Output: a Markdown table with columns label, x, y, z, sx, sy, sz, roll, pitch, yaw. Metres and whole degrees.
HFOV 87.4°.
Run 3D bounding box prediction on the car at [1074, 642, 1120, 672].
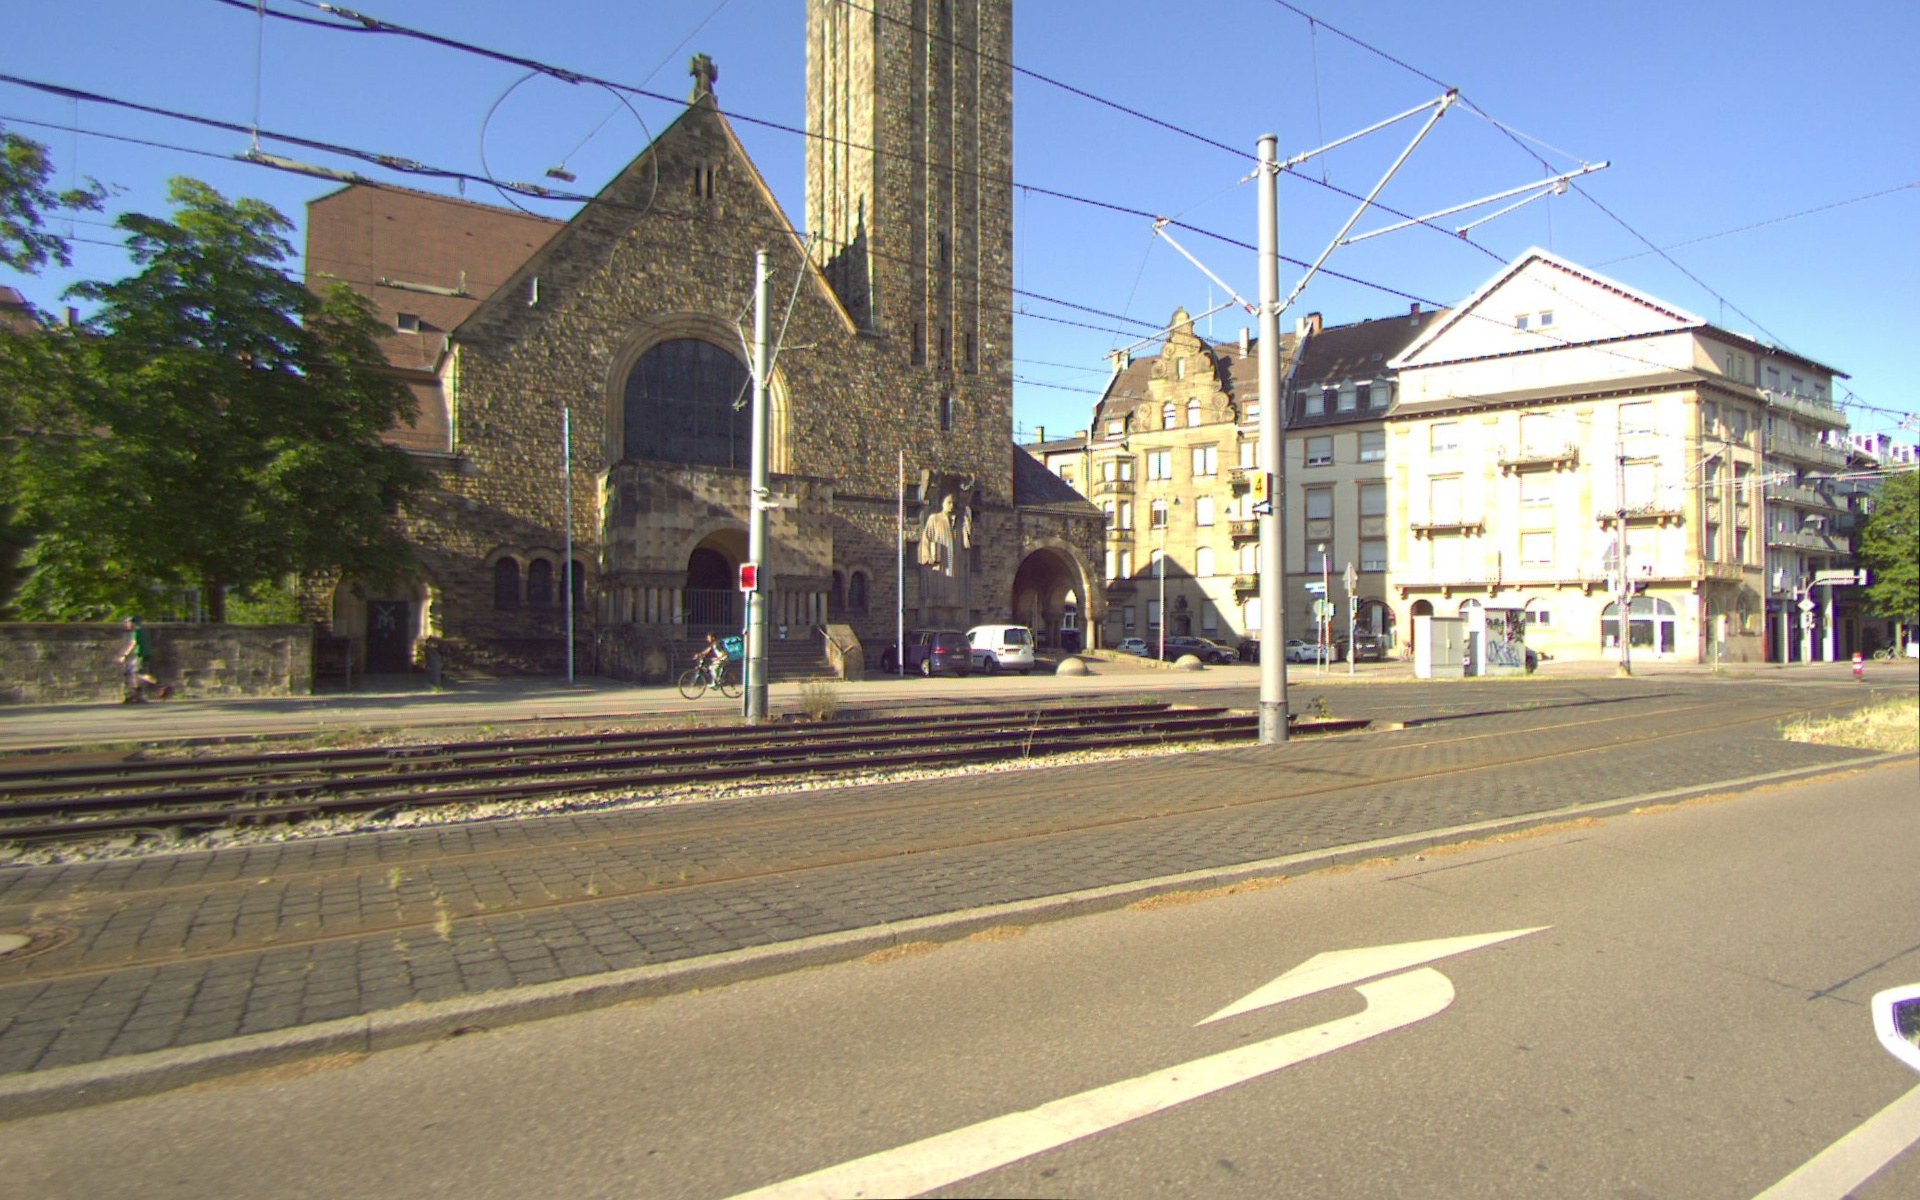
| label | x | y | z | sx | sy | sz | roll | pitch | yaw |
| --- | --- | --- | --- | --- | --- | --- | --- | --- | --- |
| car | 9.692 | 4.010 | 71.241 | 1.964 | 1.776 | 4.591 | 1 | 0 | -9 |

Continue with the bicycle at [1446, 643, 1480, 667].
| label | x | y | z | sx | sy | sz | roll | pitch | yaw |
| --- | --- | --- | --- | --- | --- | --- | --- | --- | --- |
| bicycle | 29.169 | 3.152 | 58.196 | 2.544 | 1.300 | 0.814 | 1 | 0 | -40 |

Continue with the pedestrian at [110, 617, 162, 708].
| label | x | y | z | sx | sy | sz | roll | pitch | yaw |
| --- | --- | --- | --- | --- | --- | --- | --- | --- | --- |
| pedestrian | -17.818 | 1.344 | 21.738 | 0.747 | 1.913 | 0.602 | 1 | 0 | -29 |

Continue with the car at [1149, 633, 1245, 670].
| label | x | y | z | sx | sy | sz | roll | pitch | yaw |
| --- | --- | --- | --- | --- | --- | --- | --- | --- | --- |
| car | 13.337 | 2.853 | 56.598 | 4.852 | 1.776 | 1.995 | 1 | 0 | 32 |

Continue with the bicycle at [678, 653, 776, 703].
| label | x | y | z | sx | sy | sz | roll | pitch | yaw |
| --- | --- | --- | --- | --- | --- | --- | --- | --- | --- |
| bicycle | -5.679 | 1.886 | 24.530 | 2.248 | 1.159 | 0.630 | 1 | -4 | -25 |

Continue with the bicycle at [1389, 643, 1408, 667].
| label | x | y | z | sx | sy | sz | roll | pitch | yaw |
| --- | --- | --- | --- | --- | --- | --- | --- | --- | --- |
| bicycle | 26.164 | 3.246 | 59.898 | 0.809 | 1.300 | 2.561 | 1 | 0 | 27 |

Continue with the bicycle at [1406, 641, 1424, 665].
| label | x | y | z | sx | sy | sz | roll | pitch | yaw |
| --- | --- | --- | --- | --- | --- | --- | --- | --- | --- |
| bicycle | 26.955 | 3.100 | 59.467 | 0.809 | 1.300 | 2.561 | 1 | 0 | 27 |

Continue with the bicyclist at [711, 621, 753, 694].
| label | x | y | z | sx | sy | sz | roll | pitch | yaw |
| --- | --- | --- | --- | --- | --- | --- | --- | --- | --- |
| bicyclist | -5.586 | 1.401 | 24.608 | 0.903 | 1.745 | 0.630 | 1 | -4 | -25 |

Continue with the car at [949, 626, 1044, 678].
| label | x | y | z | sx | sy | sz | roll | pitch | yaw |
| --- | --- | --- | --- | --- | --- | --- | --- | --- | --- |
| car | 1.343 | 1.953 | 38.652 | 1.871 | 1.780 | 3.969 | 1 | 0 | -29 |

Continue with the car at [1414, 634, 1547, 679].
| label | x | y | z | sx | sy | sz | roll | pitch | yaw |
| --- | --- | --- | --- | --- | --- | --- | --- | --- | --- |
| car | 18.569 | 2.001 | 35.771 | 4.785 | 1.467 | 1.984 | 1 | -5 | -32 |

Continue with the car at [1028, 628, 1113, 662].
| label | x | y | z | sx | sy | sz | roll | pitch | yaw |
| --- | --- | --- | --- | --- | --- | --- | --- | --- | --- |
| car | 6.719 | 2.696 | 61.189 | 4.687 | 1.776 | 2.149 | 1 | 0 | 34 |

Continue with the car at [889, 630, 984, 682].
| label | x | y | z | sx | sy | sz | roll | pitch | yaw |
| --- | --- | --- | --- | --- | --- | --- | --- | --- | --- |
| car | -0.934 | 2.007 | 36.894 | 1.871 | 1.651 | 3.969 | 1 | 0 | -29 |

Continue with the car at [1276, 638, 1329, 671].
| label | x | y | z | sx | sy | sz | roll | pitch | yaw |
| --- | --- | --- | --- | --- | --- | --- | --- | --- | --- |
| car | 21.493 | 3.376 | 63.283 | 1.960 | 1.776 | 4.599 | 1 | 0 | 3 |
